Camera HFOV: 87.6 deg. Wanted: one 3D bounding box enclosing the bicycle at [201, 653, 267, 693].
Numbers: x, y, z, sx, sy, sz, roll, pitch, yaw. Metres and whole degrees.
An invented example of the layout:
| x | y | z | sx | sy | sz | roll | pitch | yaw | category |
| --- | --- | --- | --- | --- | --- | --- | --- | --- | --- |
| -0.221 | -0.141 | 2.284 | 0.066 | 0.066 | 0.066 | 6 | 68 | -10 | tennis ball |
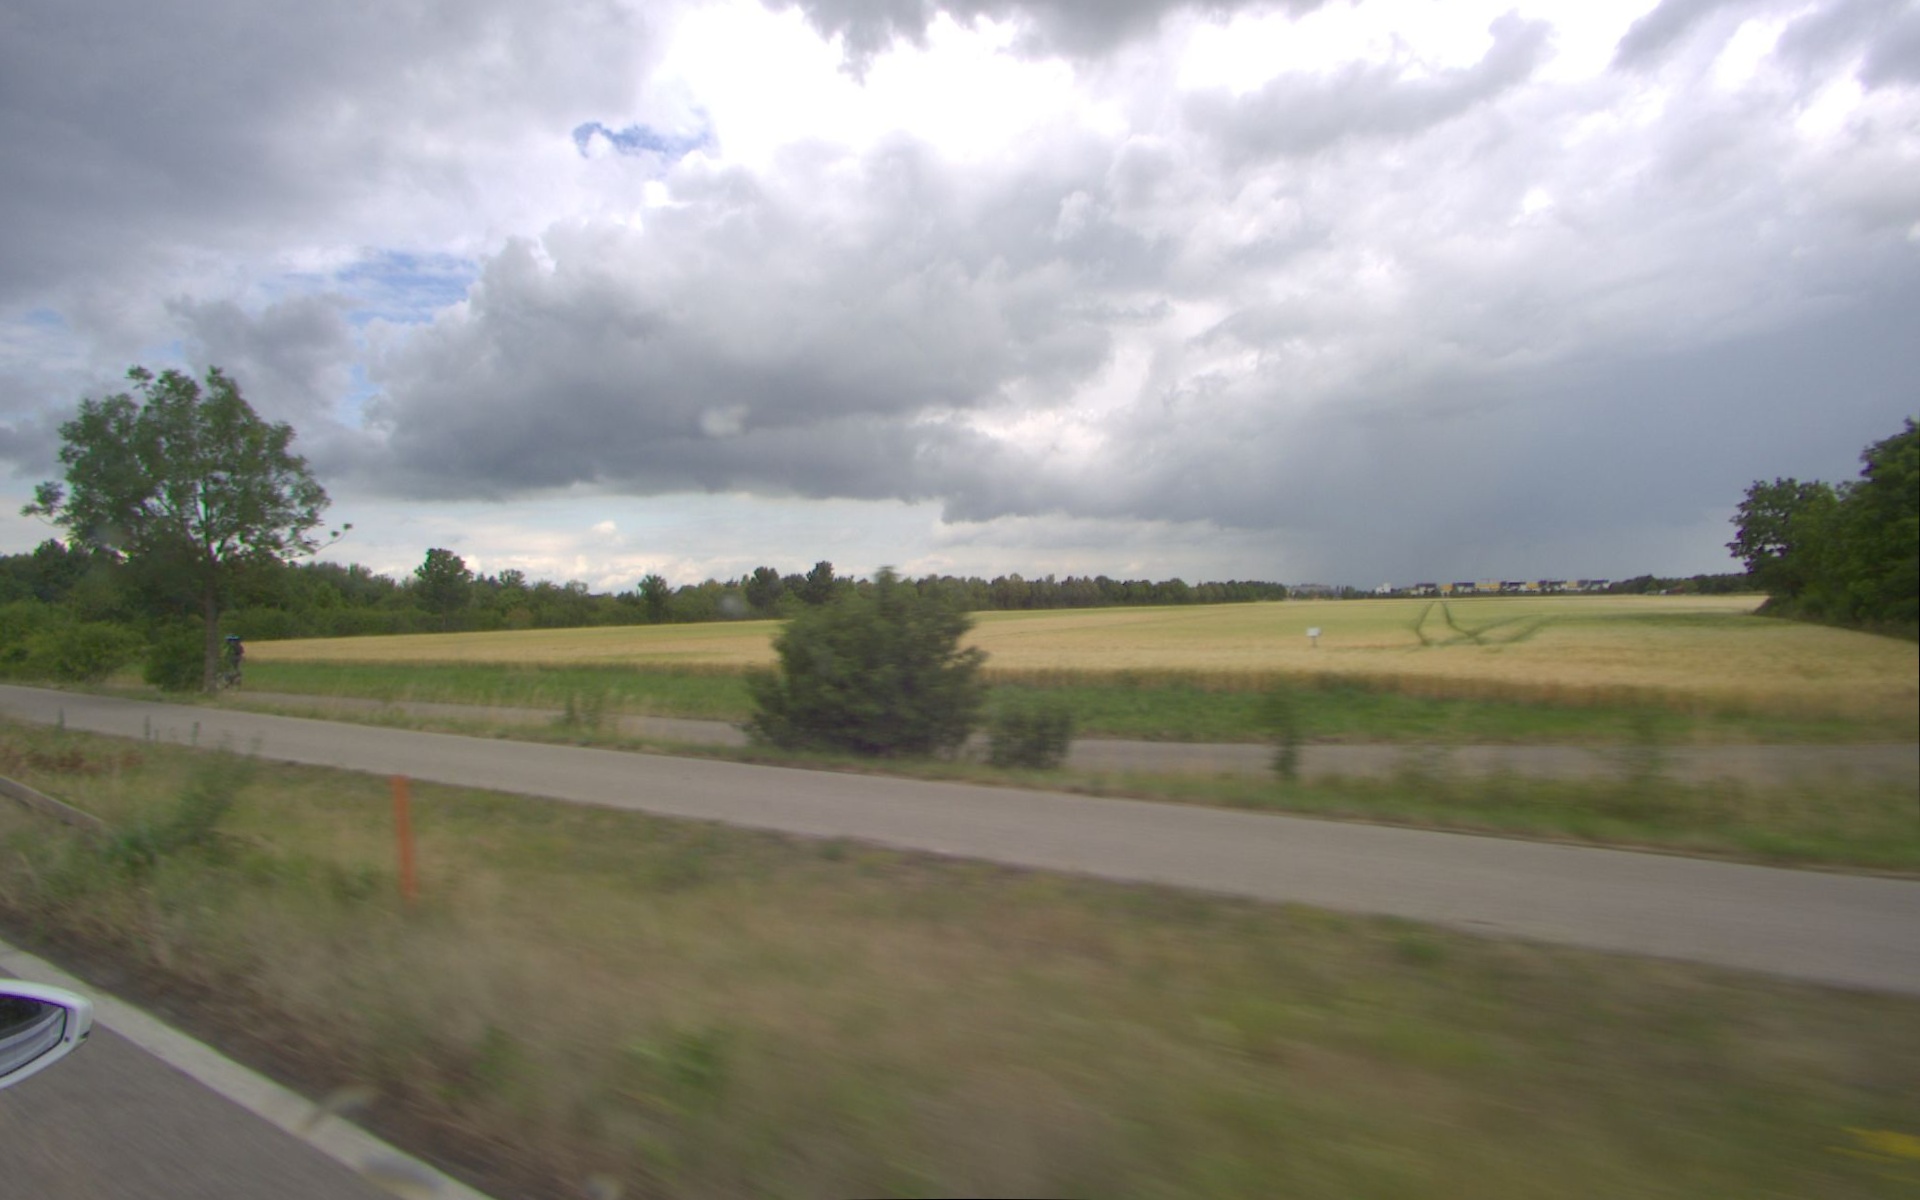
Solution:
| x | y | z | sx | sy | sz | roll | pitch | yaw | category |
| --- | --- | --- | --- | --- | --- | --- | --- | --- | --- |
| -22.136 | 2.203 | 30.514 | 2.790 | 1.153 | 0.655 | -2 | -2 | 32 | bicycle |

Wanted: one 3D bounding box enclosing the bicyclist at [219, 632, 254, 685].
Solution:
| x | y | z | sx | sy | sz | roll | pitch | yaw | category |
| --- | --- | --- | --- | --- | --- | --- | --- | --- | --- |
| -21.986 | 1.766 | 30.431 | 0.733 | 1.601 | 0.655 | -1 | -1 | 32 | bicyclist |
